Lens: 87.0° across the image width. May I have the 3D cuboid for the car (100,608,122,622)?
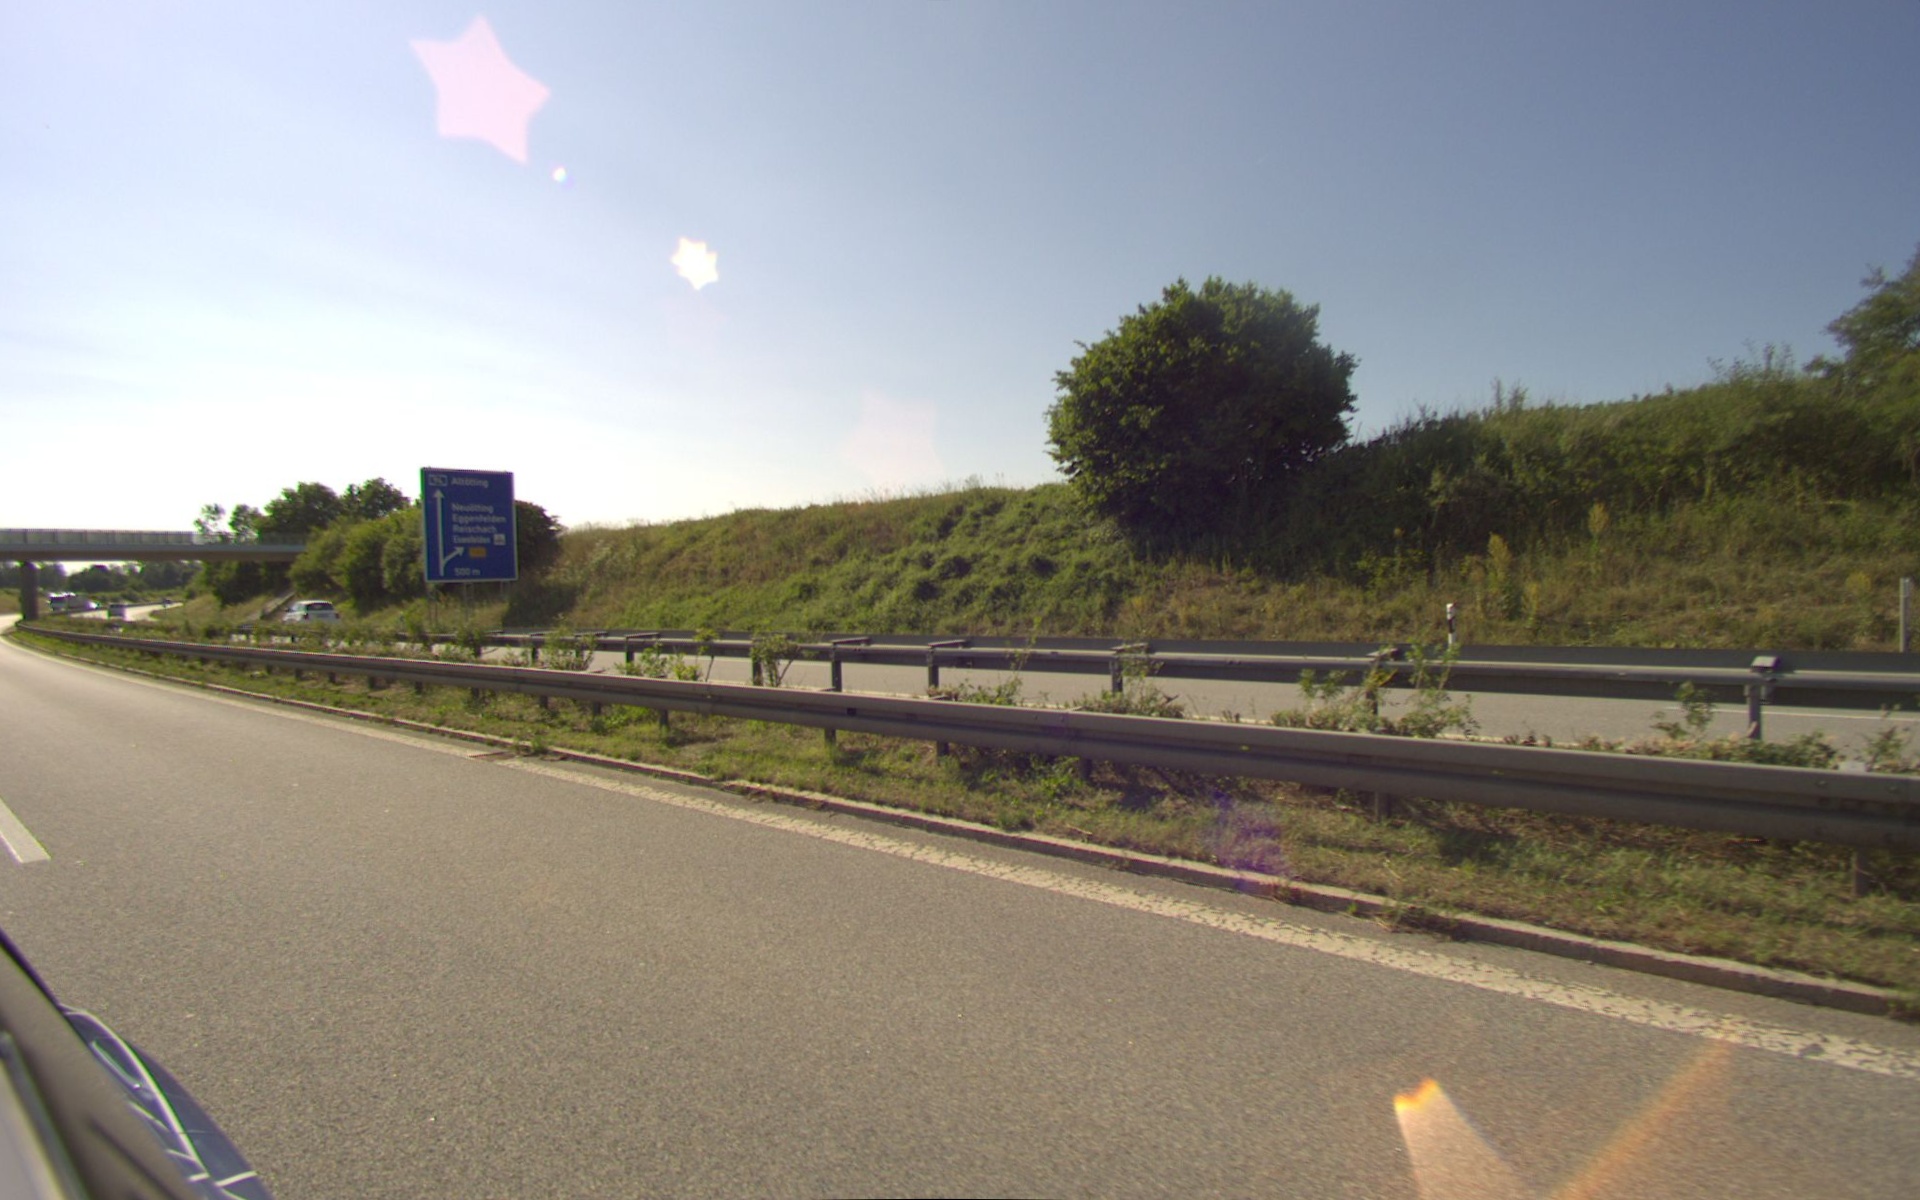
[{"bbox_3d":[-113.453,2.020,135.198,1.835,1.871,4.626,-1,0,-44],"label":"car"}]

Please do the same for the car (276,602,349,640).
[{"bbox_3d":[-29.001,0.903,45.279,4.001,1.610,1.836,-1,0,44],"label":"car"}]
